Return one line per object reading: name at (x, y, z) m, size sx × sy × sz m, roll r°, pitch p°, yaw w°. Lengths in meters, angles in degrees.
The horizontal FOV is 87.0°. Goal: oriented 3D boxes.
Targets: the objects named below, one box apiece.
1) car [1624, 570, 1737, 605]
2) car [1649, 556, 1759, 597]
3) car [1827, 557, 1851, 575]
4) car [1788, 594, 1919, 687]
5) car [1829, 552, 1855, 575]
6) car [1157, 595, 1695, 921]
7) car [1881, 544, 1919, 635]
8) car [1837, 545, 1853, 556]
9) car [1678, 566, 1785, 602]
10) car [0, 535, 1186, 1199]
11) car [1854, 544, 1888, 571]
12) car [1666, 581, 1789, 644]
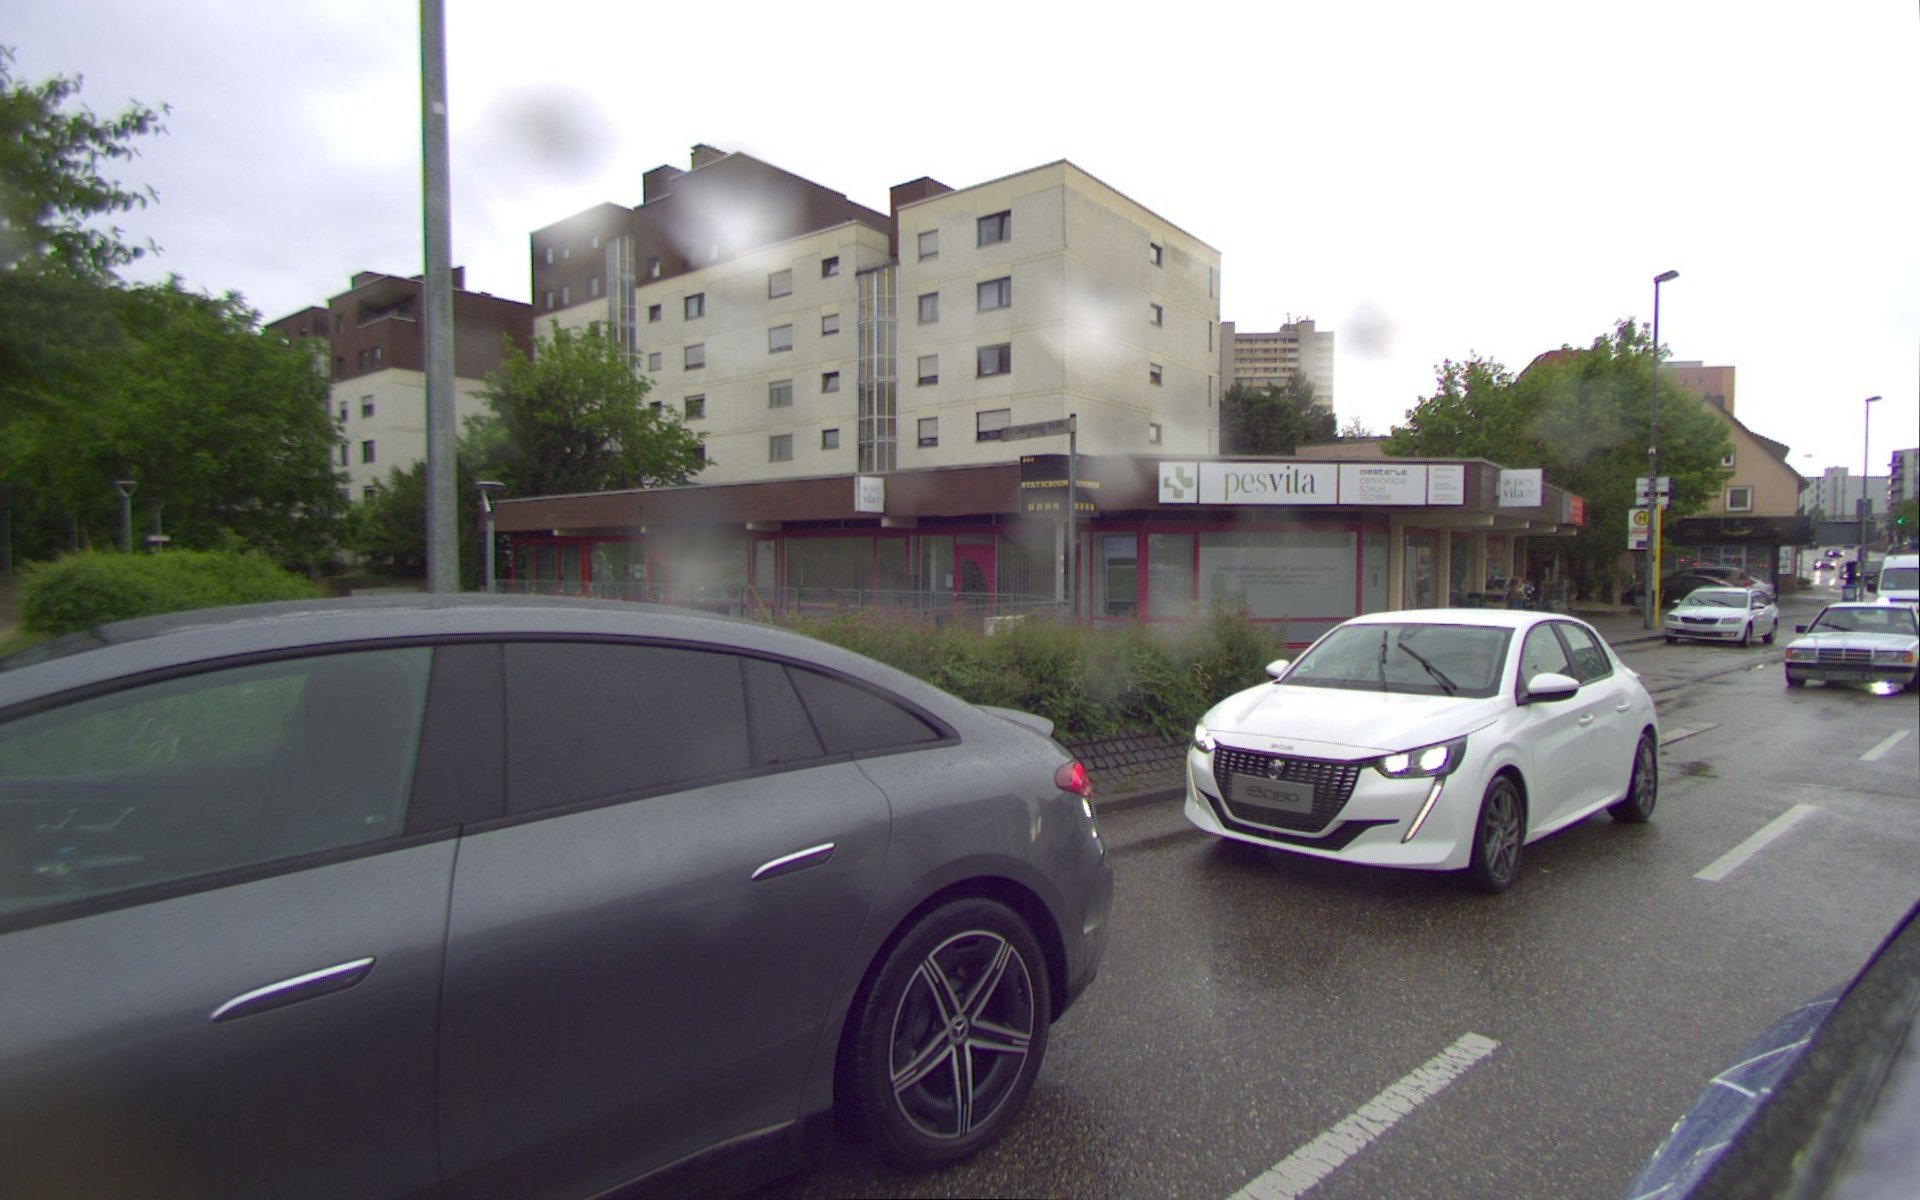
car at (32.151, -0.586, 45.206) m, size 3.981 × 1.445 × 1.858 m, roll 2°, pitch 2°, yaw 39°
car at (34.214, -1.082, 46.576) m, size 3.981 × 1.801 × 1.858 m, roll 2°, pitch 2°, yaw 39°
car at (100.549, -3.873, 115.760) m, size 1.992 × 2.039 × 3.940 m, roll 0°, pitch 1°, yaw 42°
car at (15.507, 0.589, 16.995) m, size 4.089 × 1.362 × 1.787 m, roll -1°, pitch 1°, yaw -41°
car at (80.781, -3.292, 92.741) m, size 1.714 × 2.025 × 3.780 m, roll 1°, pitch 1°, yaw 40°
car at (3.198, 0.706, 6.546) m, size 4.043 × 1.433 × 1.665 m, roll -1°, pitch 1°, yaw -41°
car at (29.203, -0.348, 30.128) m, size 6.021 × 2.549 × 2.194 m, roll -1°, pitch 2°, yaw -43°
car at (140.113, -7.824, 160.272) m, size 1.657 × 1.654 × 3.754 m, roll 1°, pitch 1°, yaw 37°
car at (36.780, -0.754, 48.289) m, size 3.981 × 1.614 × 1.857 m, roll 2°, pitch 0°, yaw 39°
car at (-1.635, 0.657, 2.413) m, size 4.724 × 1.485 × 1.840 m, roll 0°, pitch -1°, yaw -41°
car at (70.006, -3.247, 77.802) m, size 1.713 × 2.025 × 3.782 m, roll 1°, pitch 1°, yaw 39°
car at (20.106, 0.274, 26.466) m, size 3.930 × 1.509 × 1.787 m, roll -1°, pitch 1°, yaw -41°
